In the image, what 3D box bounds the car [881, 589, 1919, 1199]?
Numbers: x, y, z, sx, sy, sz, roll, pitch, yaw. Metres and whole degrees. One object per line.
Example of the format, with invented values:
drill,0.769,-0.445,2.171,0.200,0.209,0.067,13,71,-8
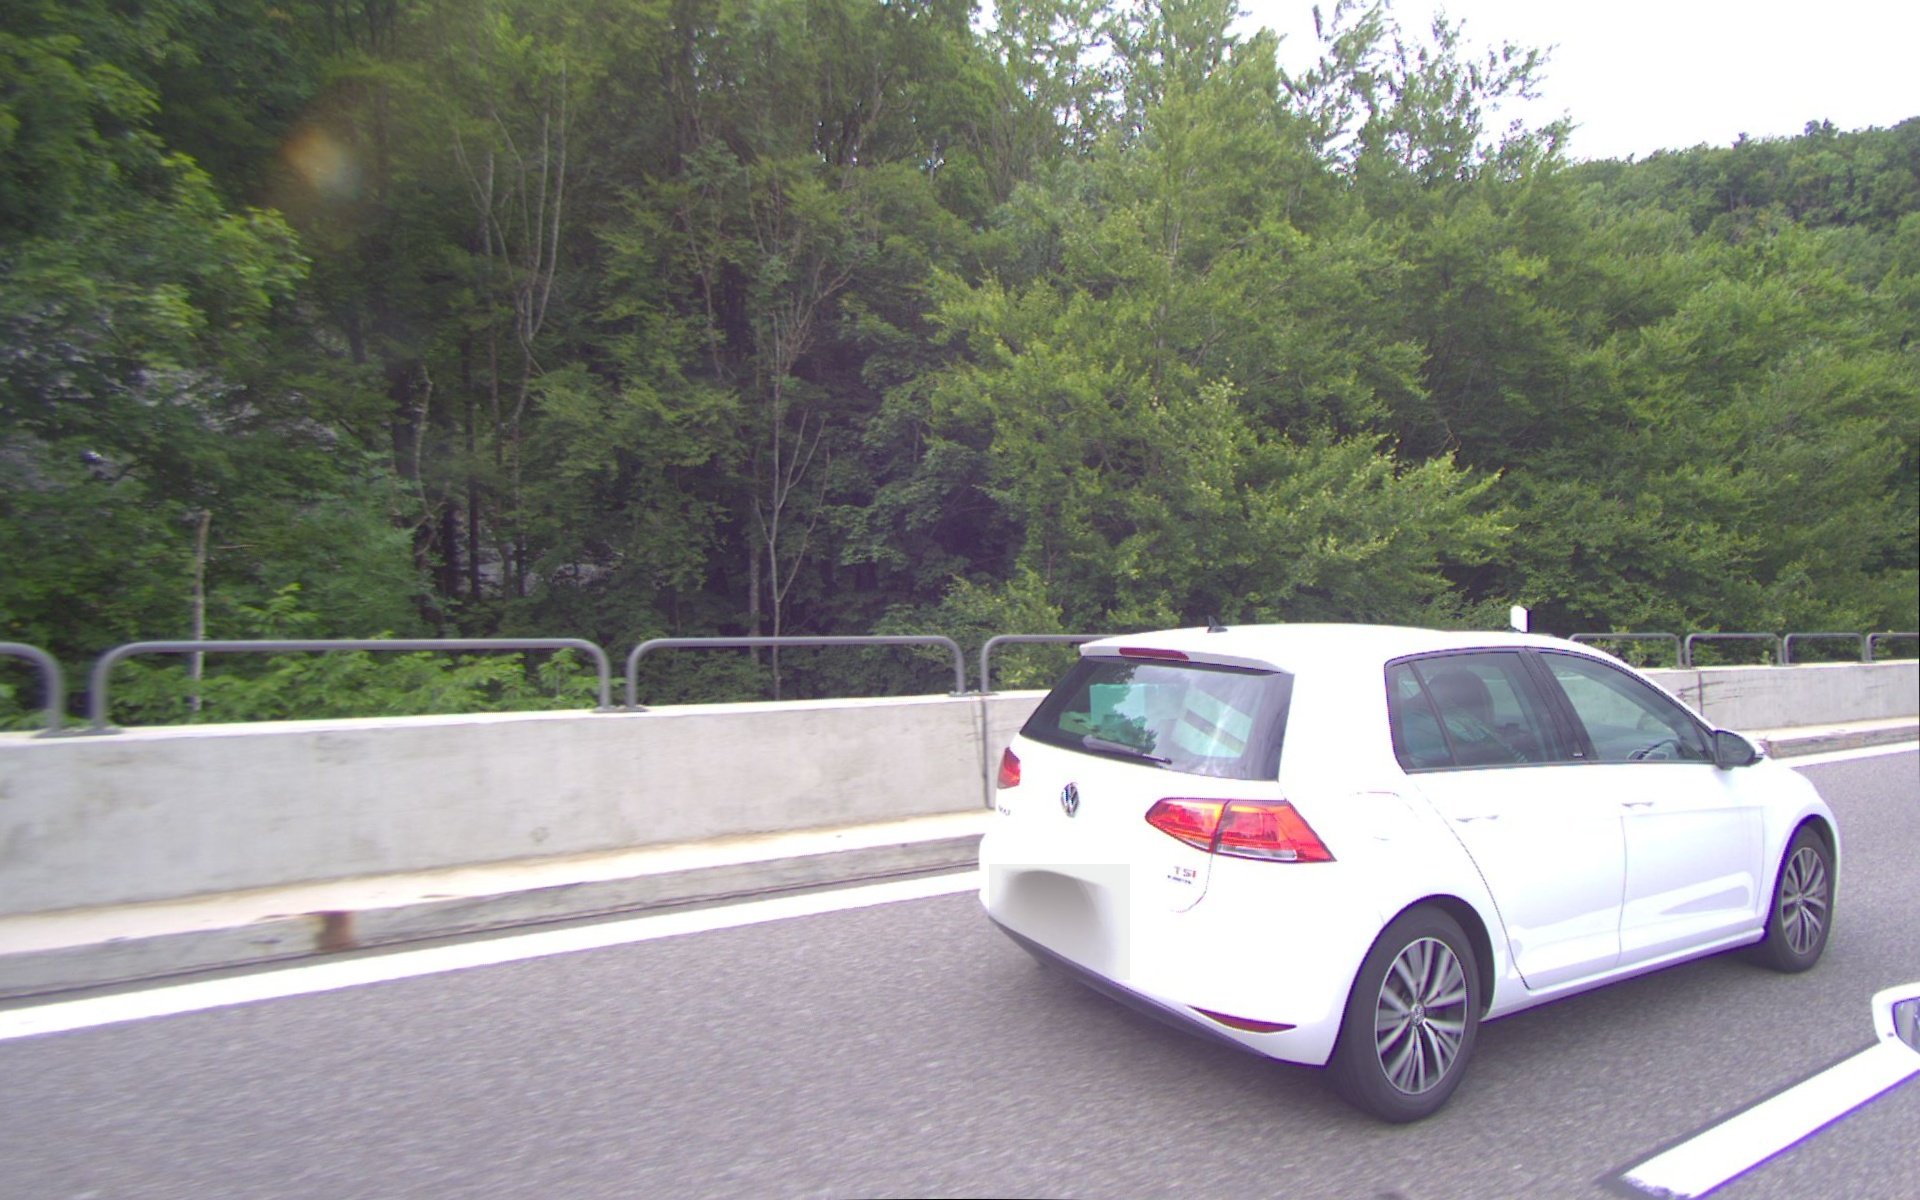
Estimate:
car,2.133,0.800,4.369,4.573,1.501,1.836,2,0,-30
